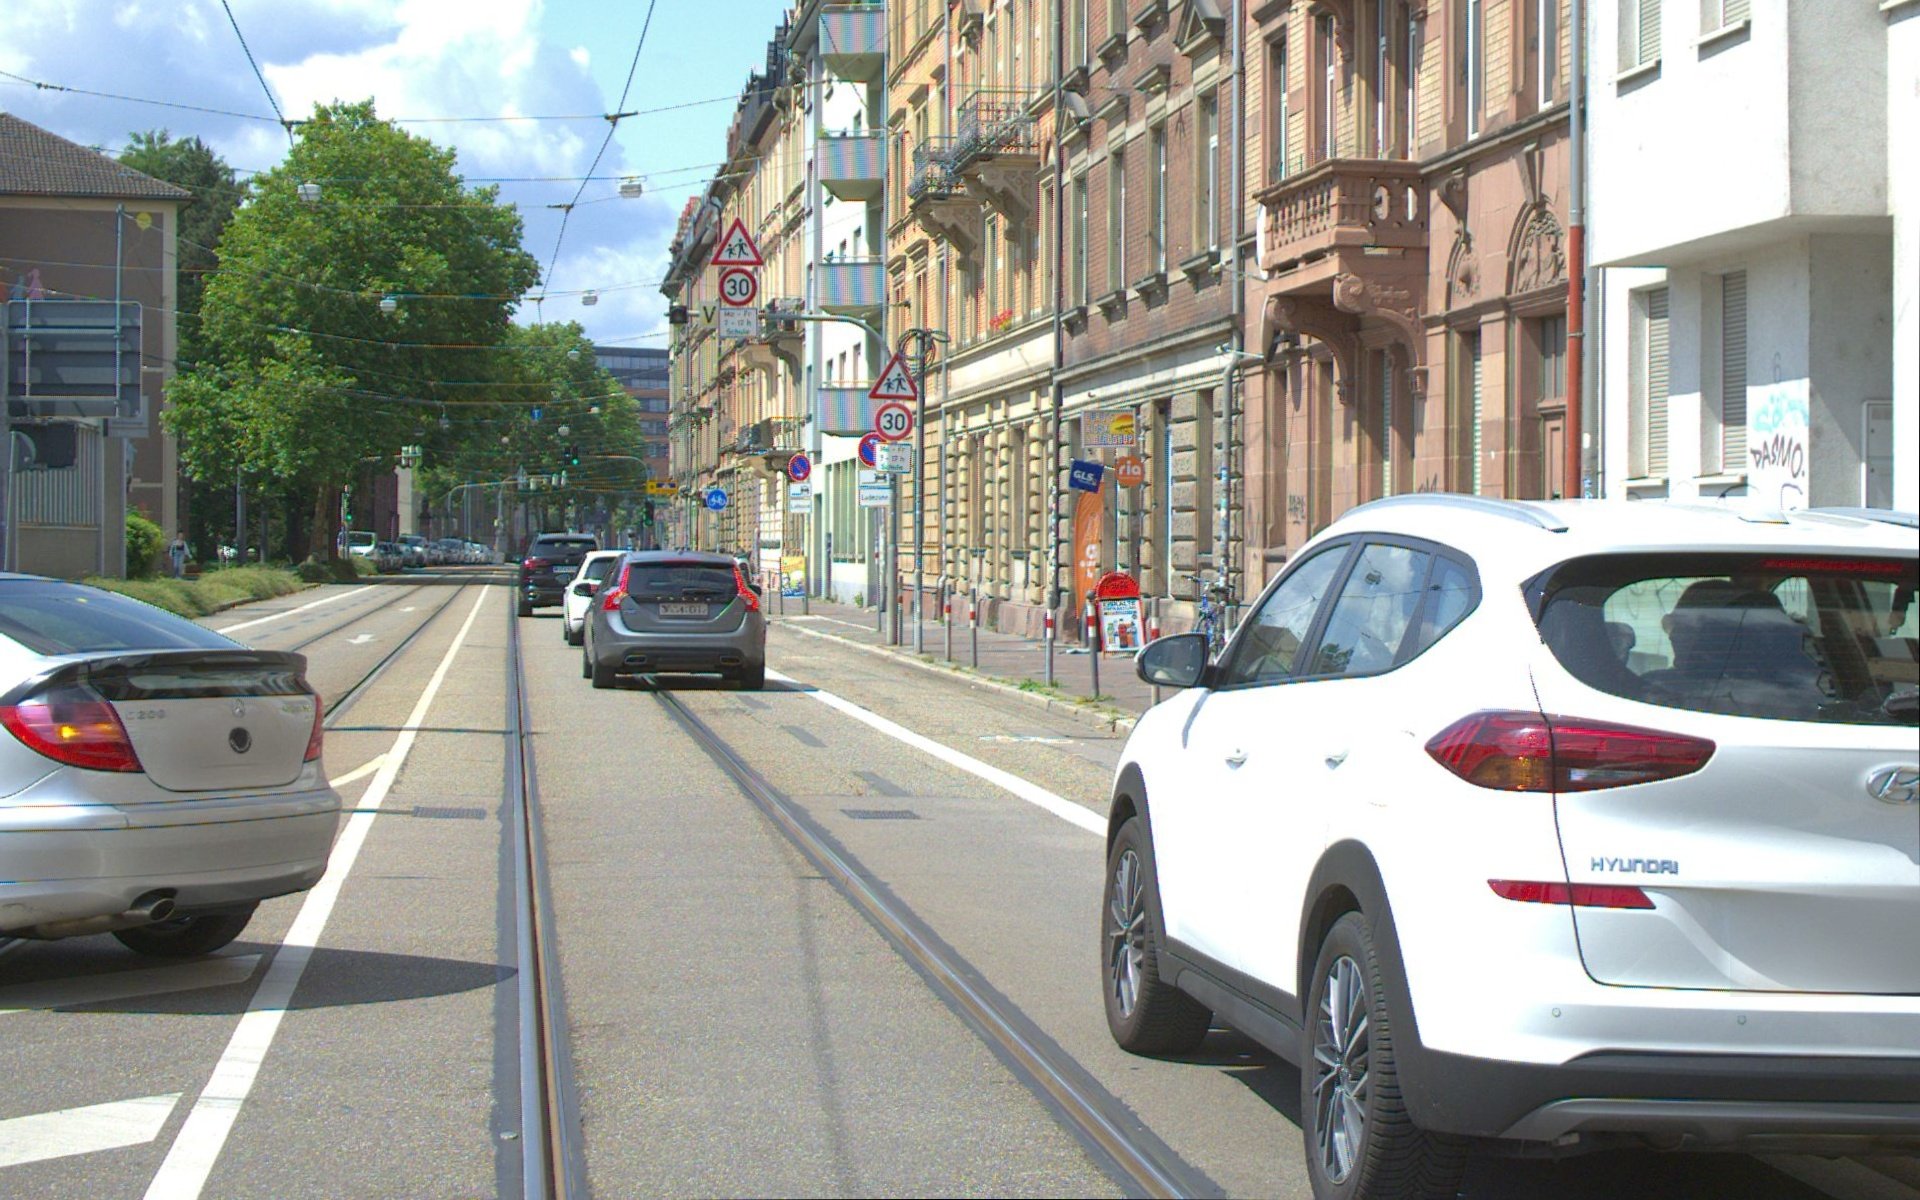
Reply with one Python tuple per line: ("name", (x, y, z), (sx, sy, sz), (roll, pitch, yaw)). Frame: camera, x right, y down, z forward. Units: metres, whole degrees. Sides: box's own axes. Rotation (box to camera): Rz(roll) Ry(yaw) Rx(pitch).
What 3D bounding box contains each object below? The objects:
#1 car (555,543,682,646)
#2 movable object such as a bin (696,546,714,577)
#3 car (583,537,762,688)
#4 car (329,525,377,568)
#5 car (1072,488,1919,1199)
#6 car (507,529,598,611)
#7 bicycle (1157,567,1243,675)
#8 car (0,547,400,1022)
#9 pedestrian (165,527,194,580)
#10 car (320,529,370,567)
("car", (-5.301, -0.116, 53.028), (1.814, 1.519, 3.956), (0, 1, -7))
("movable object such as a bin", (-9.534, -1.432, 128.570), (0.612, 1.139, 0.639), (2, 1, -7))
("car", (-3.100, 0.090, 37.246), (1.814, 1.519, 4.086), (1, 1, -4))
("car", (-28.380, -2.506, 160.829), (1.949, 1.888, 4.566), (2, 1, -8))
("car", (1.531, 0.572, 8.778), (1.852, 1.628, 4.182), (1, 1, -7))
("car", (-8.650, -0.645, 72.774), (1.814, 1.656, 4.086), (1, 1, -7))
("bicycle", (2.722, 0.226, 39.184), (0.586, 1.174, 2.205), (0, 1, -6))
("car", (-4.223, 0.521, 11.990), (4.179, 1.415, 1.818), (1, 1, 24))
("pedestrian", (-27.384, -1.632, 120.642), (0.880, 1.859, 1.081), (0, 1, -7))
("car", (-27.733, -2.365, 155.108), (1.949, 1.626, 4.577), (2, 1, -8))
